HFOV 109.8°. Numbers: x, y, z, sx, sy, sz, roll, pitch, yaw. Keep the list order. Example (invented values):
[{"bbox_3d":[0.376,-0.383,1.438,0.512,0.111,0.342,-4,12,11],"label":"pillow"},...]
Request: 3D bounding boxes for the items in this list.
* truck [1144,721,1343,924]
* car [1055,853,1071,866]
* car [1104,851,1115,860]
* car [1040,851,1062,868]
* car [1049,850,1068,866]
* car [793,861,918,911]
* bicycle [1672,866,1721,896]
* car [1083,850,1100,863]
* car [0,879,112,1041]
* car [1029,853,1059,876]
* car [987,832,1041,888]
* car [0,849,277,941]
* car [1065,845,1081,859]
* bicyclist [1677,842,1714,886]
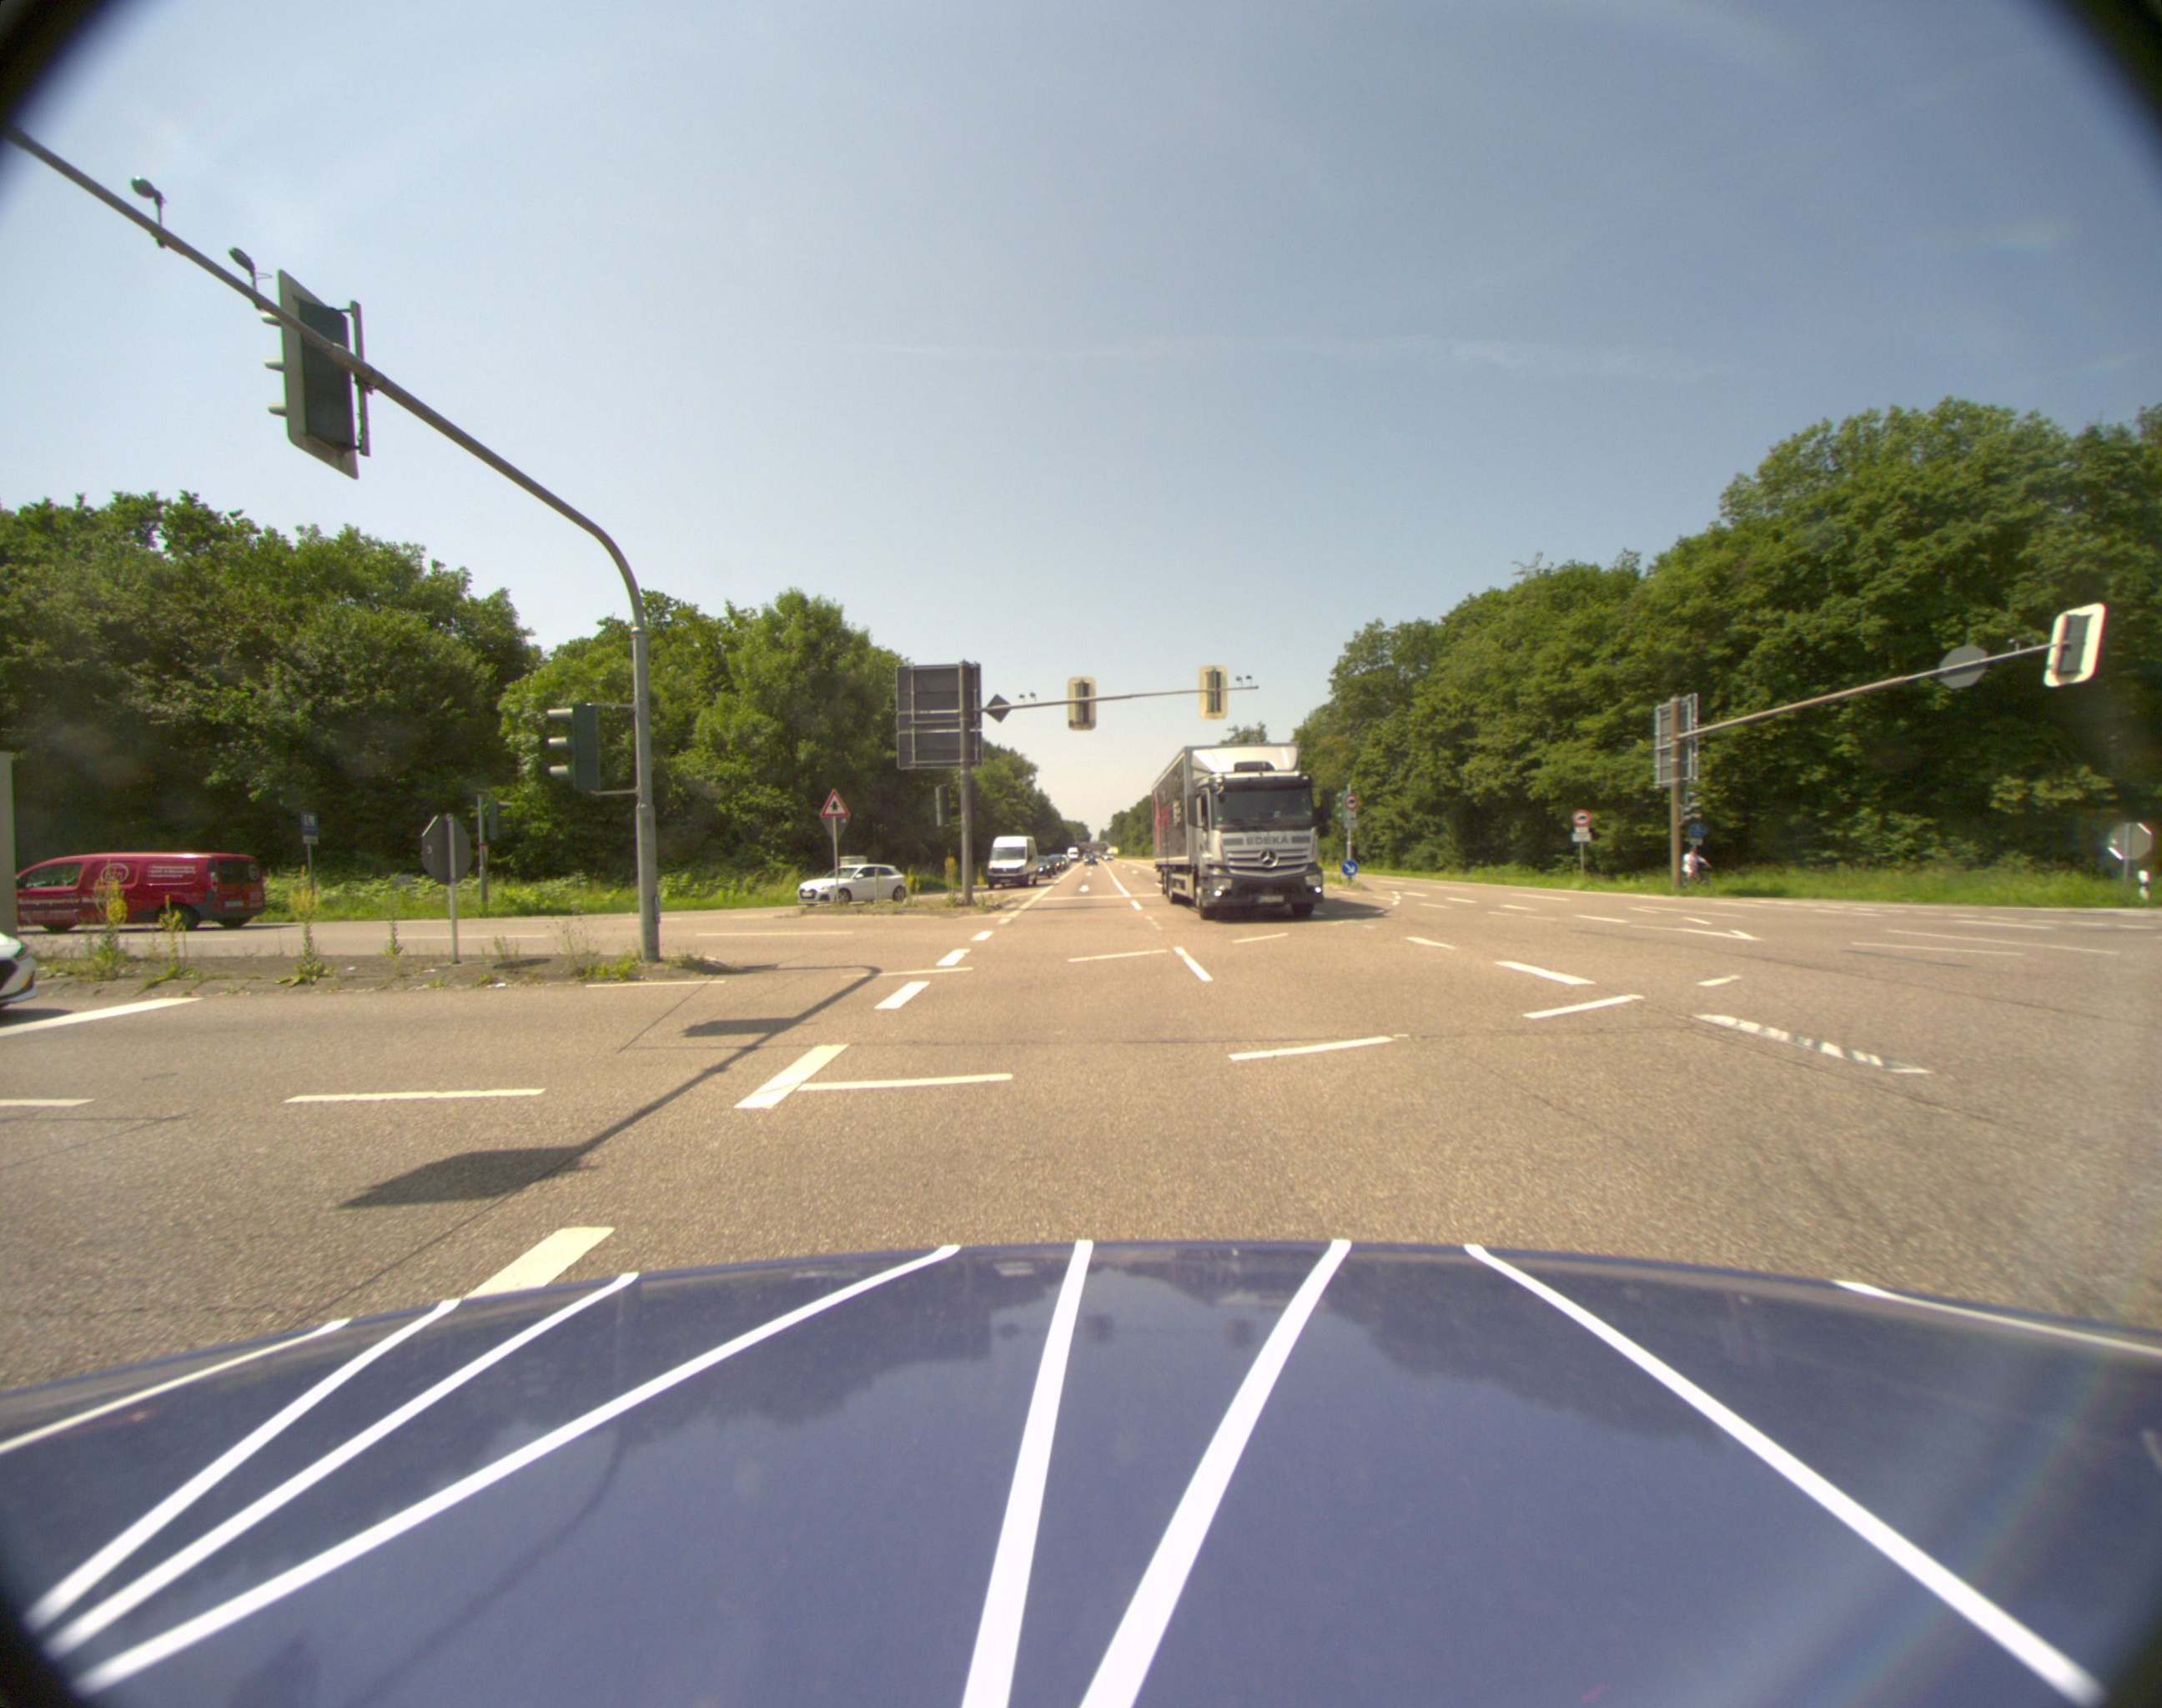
[{"bbox_3d":[3.667,-0.662,20.534,2.753,3.862,11.318,-2,1,0],"label":"truck"},{"bbox_3d":[-2.173,0.655,90.871,1.796,1.431,4.228,-1,1,0],"label":"car"},{"bbox_3d":[5.423,0.296,144.454,1.998,1.543,4.000,0,0,0],"label":"car"},{"bbox_3d":[-2.686,0.475,69.447,1.796,1.431,4.228,-1,1,0],"label":"car"},{"bbox_3d":[-2.234,0.388,77.018,1.796,1.431,4.228,-1,1,0],"label":"car"},{"bbox_3d":[-7.764,1.074,26.504,1.691,1.427,4.007,-3,1,30],"label":"car"},{"bbox_3d":[20.650,0.894,25.518,0.566,0.918,1.606,-1,1,10],"label":"bicycle"},{"bbox_3d":[1.351,0.359,98.206,1.992,1.575,4.364,-1,1,0],"label":"car"},{"bbox_3d":[-12.614,1.060,7.109,4.431,1.526,2.000,-1,1,-1],"label":"car"},{"bbox_3d":[-2.525,0.685,52.331,1.796,1.452,4.228,-2,1,0],"label":"car"},{"bbox_3d":[-3.371,0.268,39.532,1.974,2.630,6.060,-2,0,2],"label":"car"},{"bbox_3d":[-21.791,0.890,17.245,4.499,1.812,1.795,-2,0,-18],"label":"car"},{"bbox_3d":[-1.450,-0.365,146.531,2.673,2.685,6.330,0,1,3],"label":"car"},{"bbox_3d":[20.666,0.323,25.578,0.660,1.456,0.810,0,1,10],"label":"bicyclist"}]
